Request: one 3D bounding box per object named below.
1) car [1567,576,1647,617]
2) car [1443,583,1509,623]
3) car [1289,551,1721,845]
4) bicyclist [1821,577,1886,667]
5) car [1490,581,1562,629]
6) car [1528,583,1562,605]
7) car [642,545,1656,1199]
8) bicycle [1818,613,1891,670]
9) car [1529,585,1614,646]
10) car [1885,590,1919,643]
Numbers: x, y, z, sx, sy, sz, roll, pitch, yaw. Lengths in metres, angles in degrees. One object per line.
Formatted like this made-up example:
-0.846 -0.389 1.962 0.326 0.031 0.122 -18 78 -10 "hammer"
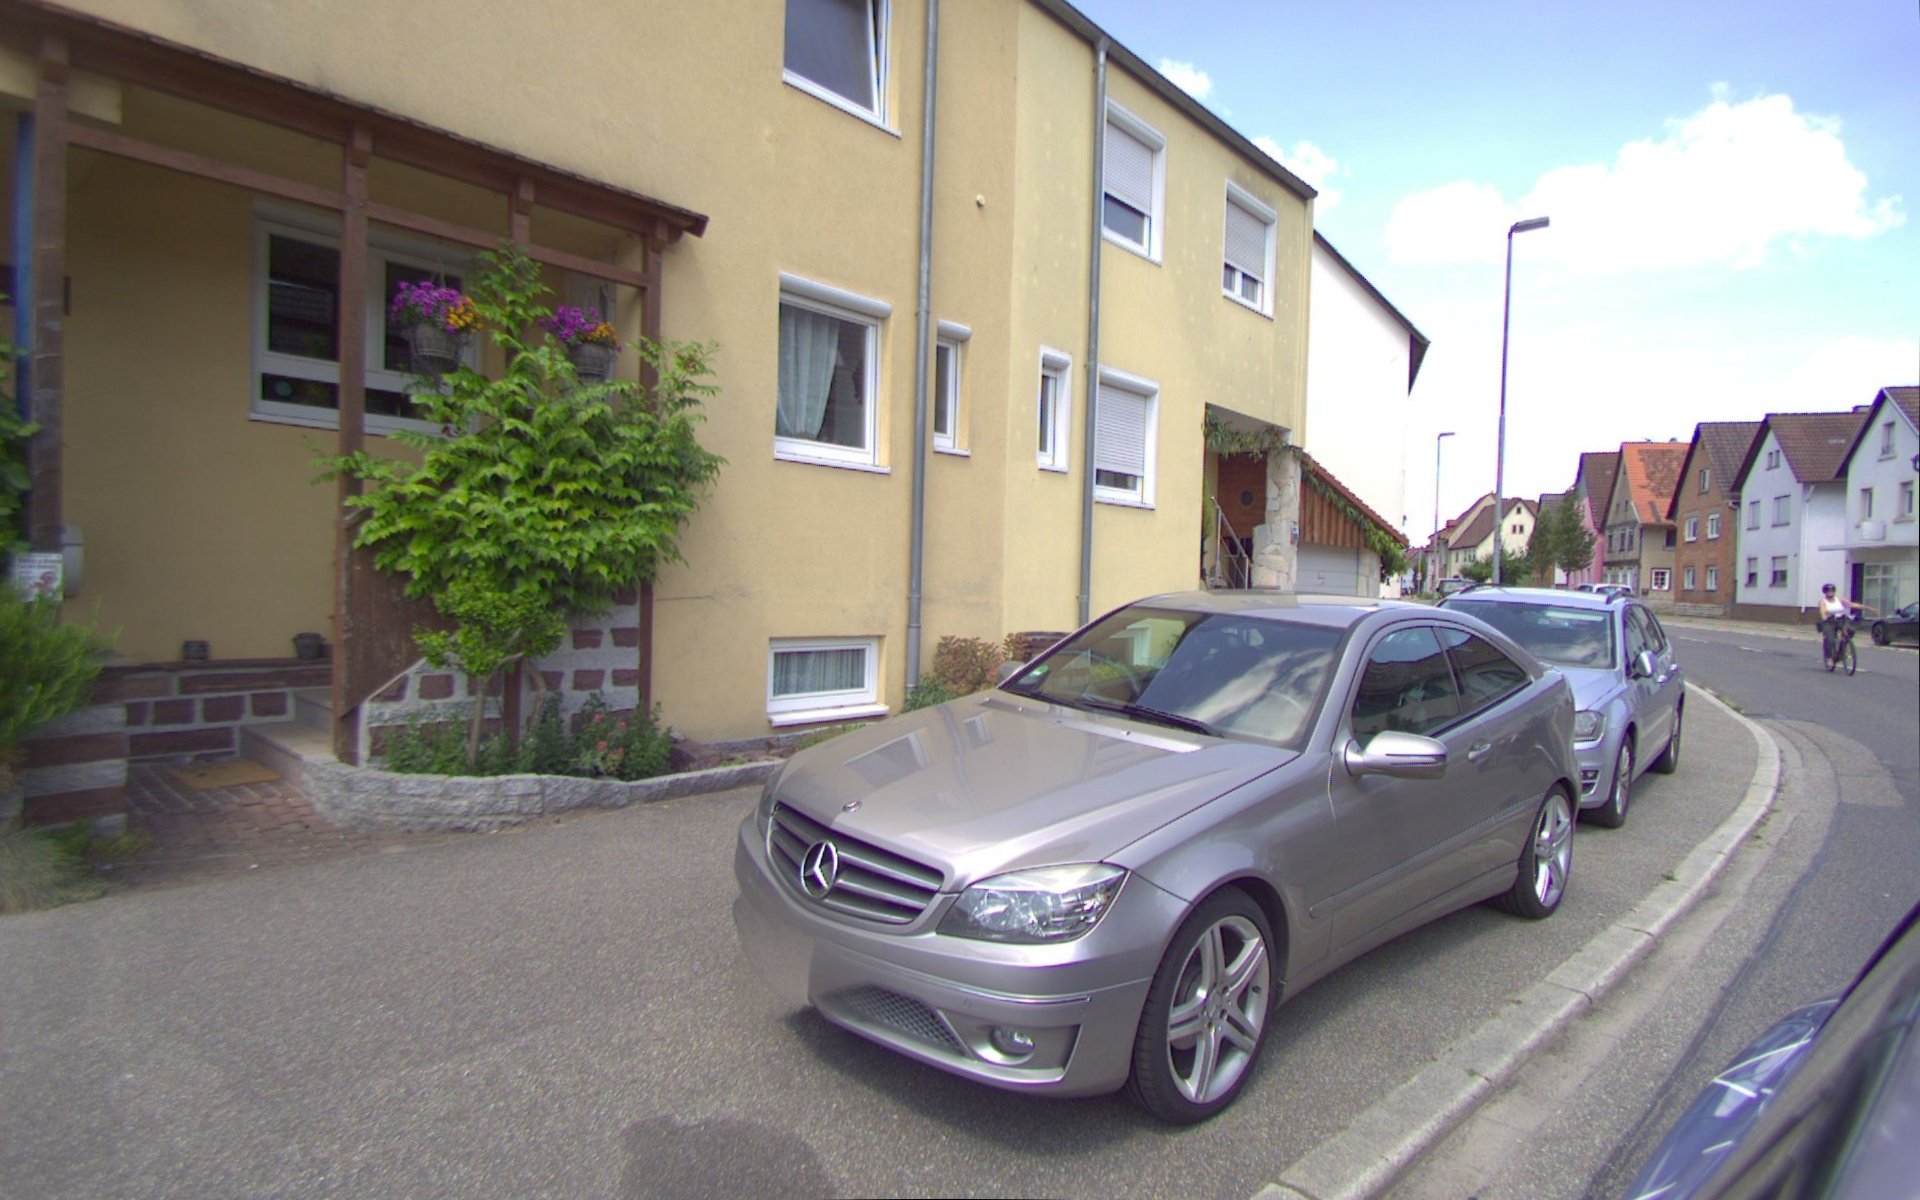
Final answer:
30.946 -0.215 48.566 1.973 1.822 4.910 0 2 17 "car"
22.759 0.087 44.763 1.641 1.668 3.984 0 1 13 "car"
4.396 0.498 7.812 1.885 1.548 4.269 6 4 42 "car"
17.599 0.411 19.949 0.905 1.709 0.751 1 2 39 "bicyclist"
19.710 0.189 35.362 1.754 1.549 3.967 2 -1 23 "car"
42.791 -0.460 74.109 1.665 1.549 3.474 0 2 22 "car"
1.137 0.546 4.196 4.348 1.416 1.774 -2 5 -41 "car"
17.608 0.788 19.972 0.929 1.024 1.898 1 0 37 "bicycle"
16.719 0.359 27.812 1.713 1.402 3.962 2 3 28 "car"
27.111 0.456 27.260 1.789 1.438 4.516 0 0 22 "car"
